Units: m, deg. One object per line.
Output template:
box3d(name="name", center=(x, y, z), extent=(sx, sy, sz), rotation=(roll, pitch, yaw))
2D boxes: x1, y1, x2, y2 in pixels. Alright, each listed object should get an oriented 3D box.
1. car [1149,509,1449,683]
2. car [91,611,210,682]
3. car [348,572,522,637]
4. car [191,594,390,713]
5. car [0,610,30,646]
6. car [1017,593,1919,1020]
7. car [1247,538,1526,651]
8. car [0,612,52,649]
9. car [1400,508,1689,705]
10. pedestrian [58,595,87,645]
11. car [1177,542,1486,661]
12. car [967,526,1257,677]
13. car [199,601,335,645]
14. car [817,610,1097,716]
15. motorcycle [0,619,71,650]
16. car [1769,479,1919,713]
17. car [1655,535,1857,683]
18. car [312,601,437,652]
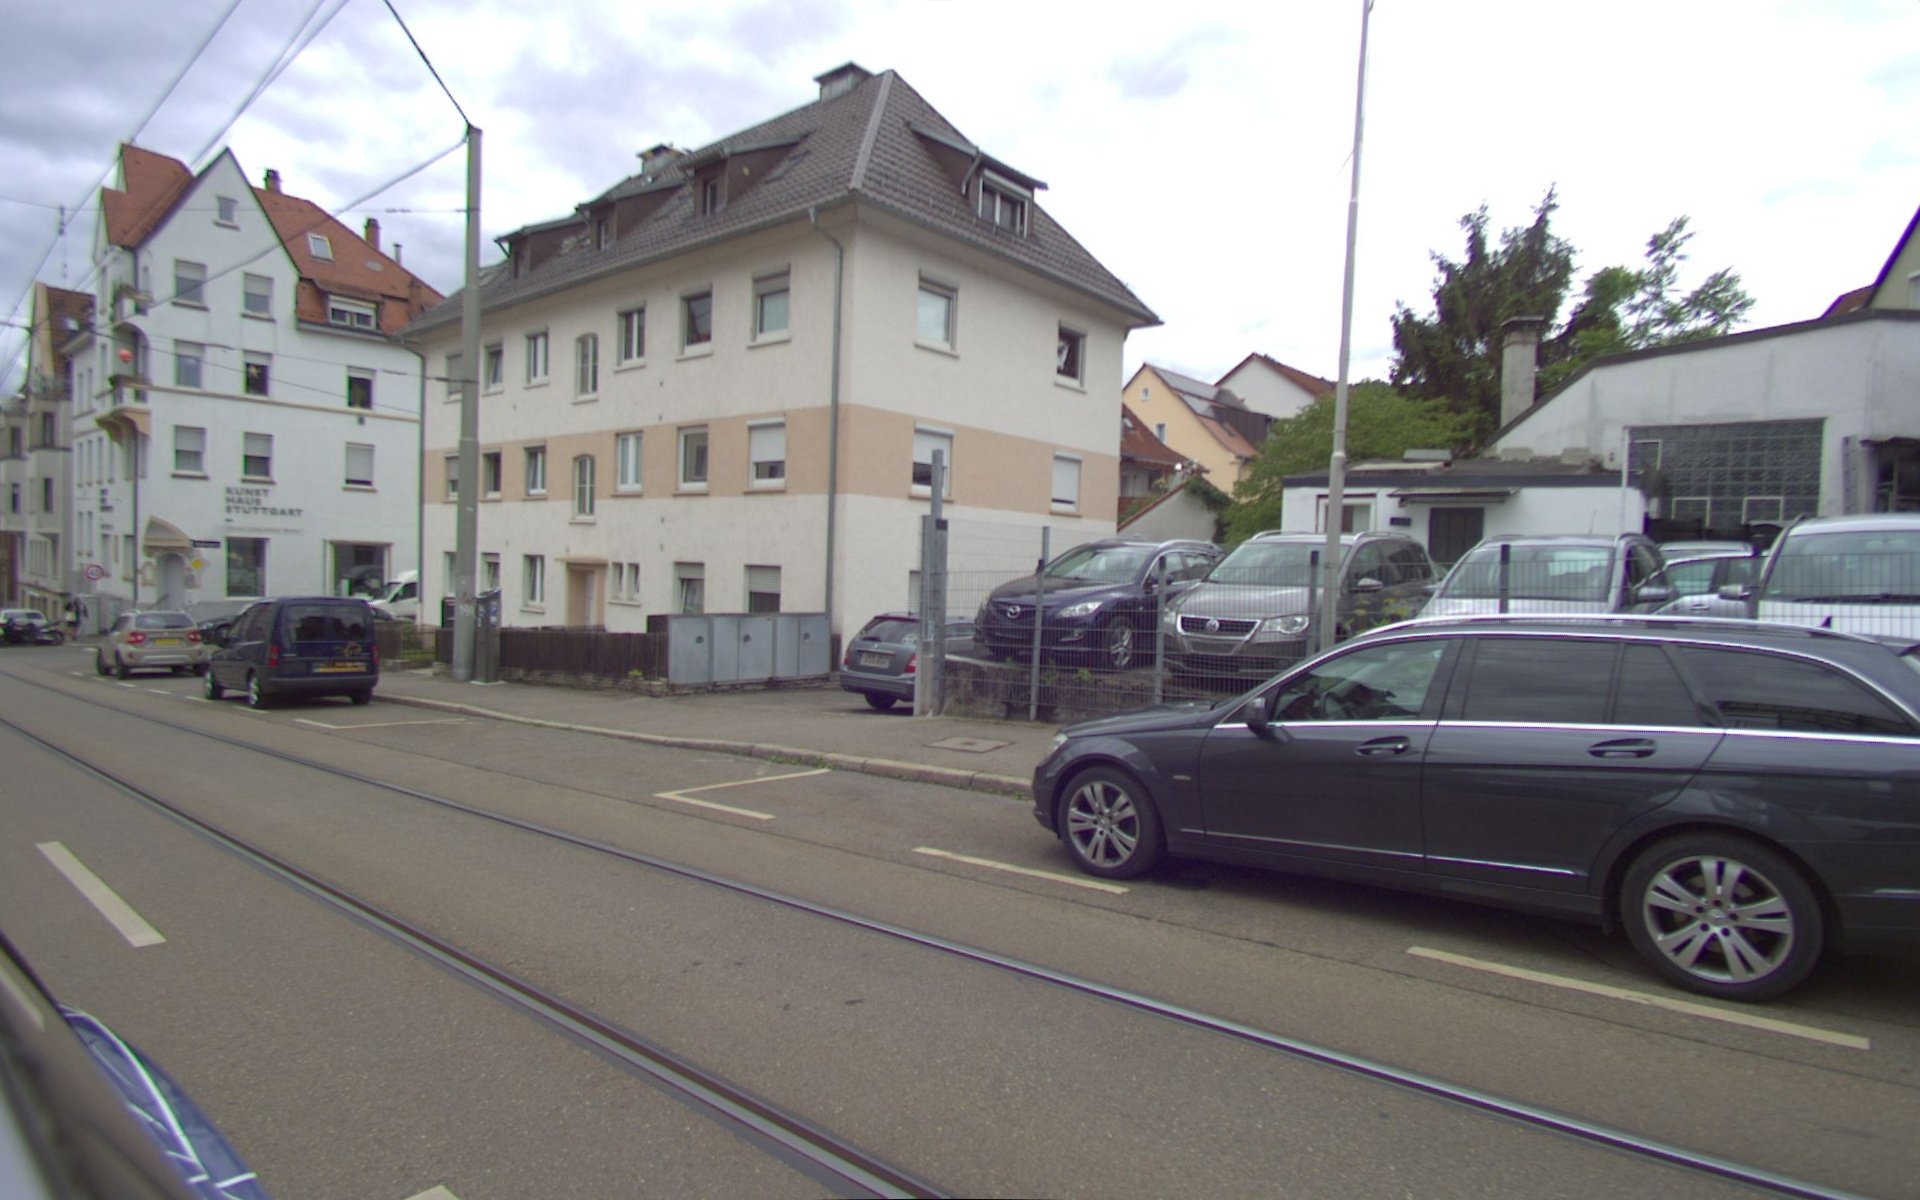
box3d(name="car", center=(3.836, -0.044, 11.022), extent=(1.738, 1.535, 4.019), rotation=(-1, 0, 40))
box3d(name="car", center=(-19.576, 1.066, 24.418), extent=(3.849, 1.568, 1.679), rotation=(-1, 0, 42))
box3d(name="car", center=(-21.937, 0.118, 42.549), extent=(2.191, 2.551, 6.126), rotation=(0, 1, 42))
box3d(name="car", center=(-11.388, 0.844, 17.097), extent=(4.518, 1.749, 1.725), rotation=(-1, -2, 42))
box3d(name="car", center=(-40.625, 1.180, 42.719), extent=(3.022, 1.480, 1.679), rotation=(-1, -3, 41))
box3d(name="car", center=(2.585, 0.742, 5.077), extent=(4.477, 1.444, 1.680), rotation=(-1, -2, 39))
box3d(name="car", center=(6.892, -0.061, 16.587), extent=(3.888, 1.625, 1.665), rotation=(-1, 0, 42))
box3d(name="car", center=(-36.879, 1.168, 39.459), extent=(4.290, 1.367, 1.761), rotation=(-1, -1, 42))
box3d(name="car", center=(5.663, 0.042, 9.556), extent=(1.687, 1.456, 4.019), rotation=(-1, 0, 40))
box3d(name="pedestrian", center=(-35.721, 0.802, 40.726), extent=(0.810, 1.919, 0.583), rotation=(-1, 5, 40))
box3d(name="car", center=(5.302, 0.030, 14.728), extent=(3.888, 1.505, 1.665), rotation=(-1, 0, 42))
box3d(name="car", center=(2.033, -0.045, 12.563), extent=(1.687, 1.564, 4.019), rotation=(-1, 1, 40))
box3d(name="car", center=(-26.018, 0.831, 38.078), extent=(1.754, 1.475, 3.945), rotation=(0, 1, 42))
box3d(name="car", center=(0.106, 0.969, 15.173), extent=(1.859, 1.356, 4.294), rotation=(-1, -5, 40))
box3d(name="motorcycle", center=(-34.469, 1.273, 37.582), extent=(2.080, 1.143, 0.768), rotation=(1, -2, -36))
box3d(name="car", center=(7.523, -0.043, 7.974), extent=(1.687, 1.505, 4.019), rotation=(-1, 0, 40))
box3d(name="car", center=(9.721, 0.085, 12.347), extent=(1.687, 1.505, 3.837), rotation=(-1, 0, 40))
box3d(name="car", center=(-20.777, 0.885, 35.976), extent=(1.777, 1.503, 3.478), rotation=(6, 5, 41))
